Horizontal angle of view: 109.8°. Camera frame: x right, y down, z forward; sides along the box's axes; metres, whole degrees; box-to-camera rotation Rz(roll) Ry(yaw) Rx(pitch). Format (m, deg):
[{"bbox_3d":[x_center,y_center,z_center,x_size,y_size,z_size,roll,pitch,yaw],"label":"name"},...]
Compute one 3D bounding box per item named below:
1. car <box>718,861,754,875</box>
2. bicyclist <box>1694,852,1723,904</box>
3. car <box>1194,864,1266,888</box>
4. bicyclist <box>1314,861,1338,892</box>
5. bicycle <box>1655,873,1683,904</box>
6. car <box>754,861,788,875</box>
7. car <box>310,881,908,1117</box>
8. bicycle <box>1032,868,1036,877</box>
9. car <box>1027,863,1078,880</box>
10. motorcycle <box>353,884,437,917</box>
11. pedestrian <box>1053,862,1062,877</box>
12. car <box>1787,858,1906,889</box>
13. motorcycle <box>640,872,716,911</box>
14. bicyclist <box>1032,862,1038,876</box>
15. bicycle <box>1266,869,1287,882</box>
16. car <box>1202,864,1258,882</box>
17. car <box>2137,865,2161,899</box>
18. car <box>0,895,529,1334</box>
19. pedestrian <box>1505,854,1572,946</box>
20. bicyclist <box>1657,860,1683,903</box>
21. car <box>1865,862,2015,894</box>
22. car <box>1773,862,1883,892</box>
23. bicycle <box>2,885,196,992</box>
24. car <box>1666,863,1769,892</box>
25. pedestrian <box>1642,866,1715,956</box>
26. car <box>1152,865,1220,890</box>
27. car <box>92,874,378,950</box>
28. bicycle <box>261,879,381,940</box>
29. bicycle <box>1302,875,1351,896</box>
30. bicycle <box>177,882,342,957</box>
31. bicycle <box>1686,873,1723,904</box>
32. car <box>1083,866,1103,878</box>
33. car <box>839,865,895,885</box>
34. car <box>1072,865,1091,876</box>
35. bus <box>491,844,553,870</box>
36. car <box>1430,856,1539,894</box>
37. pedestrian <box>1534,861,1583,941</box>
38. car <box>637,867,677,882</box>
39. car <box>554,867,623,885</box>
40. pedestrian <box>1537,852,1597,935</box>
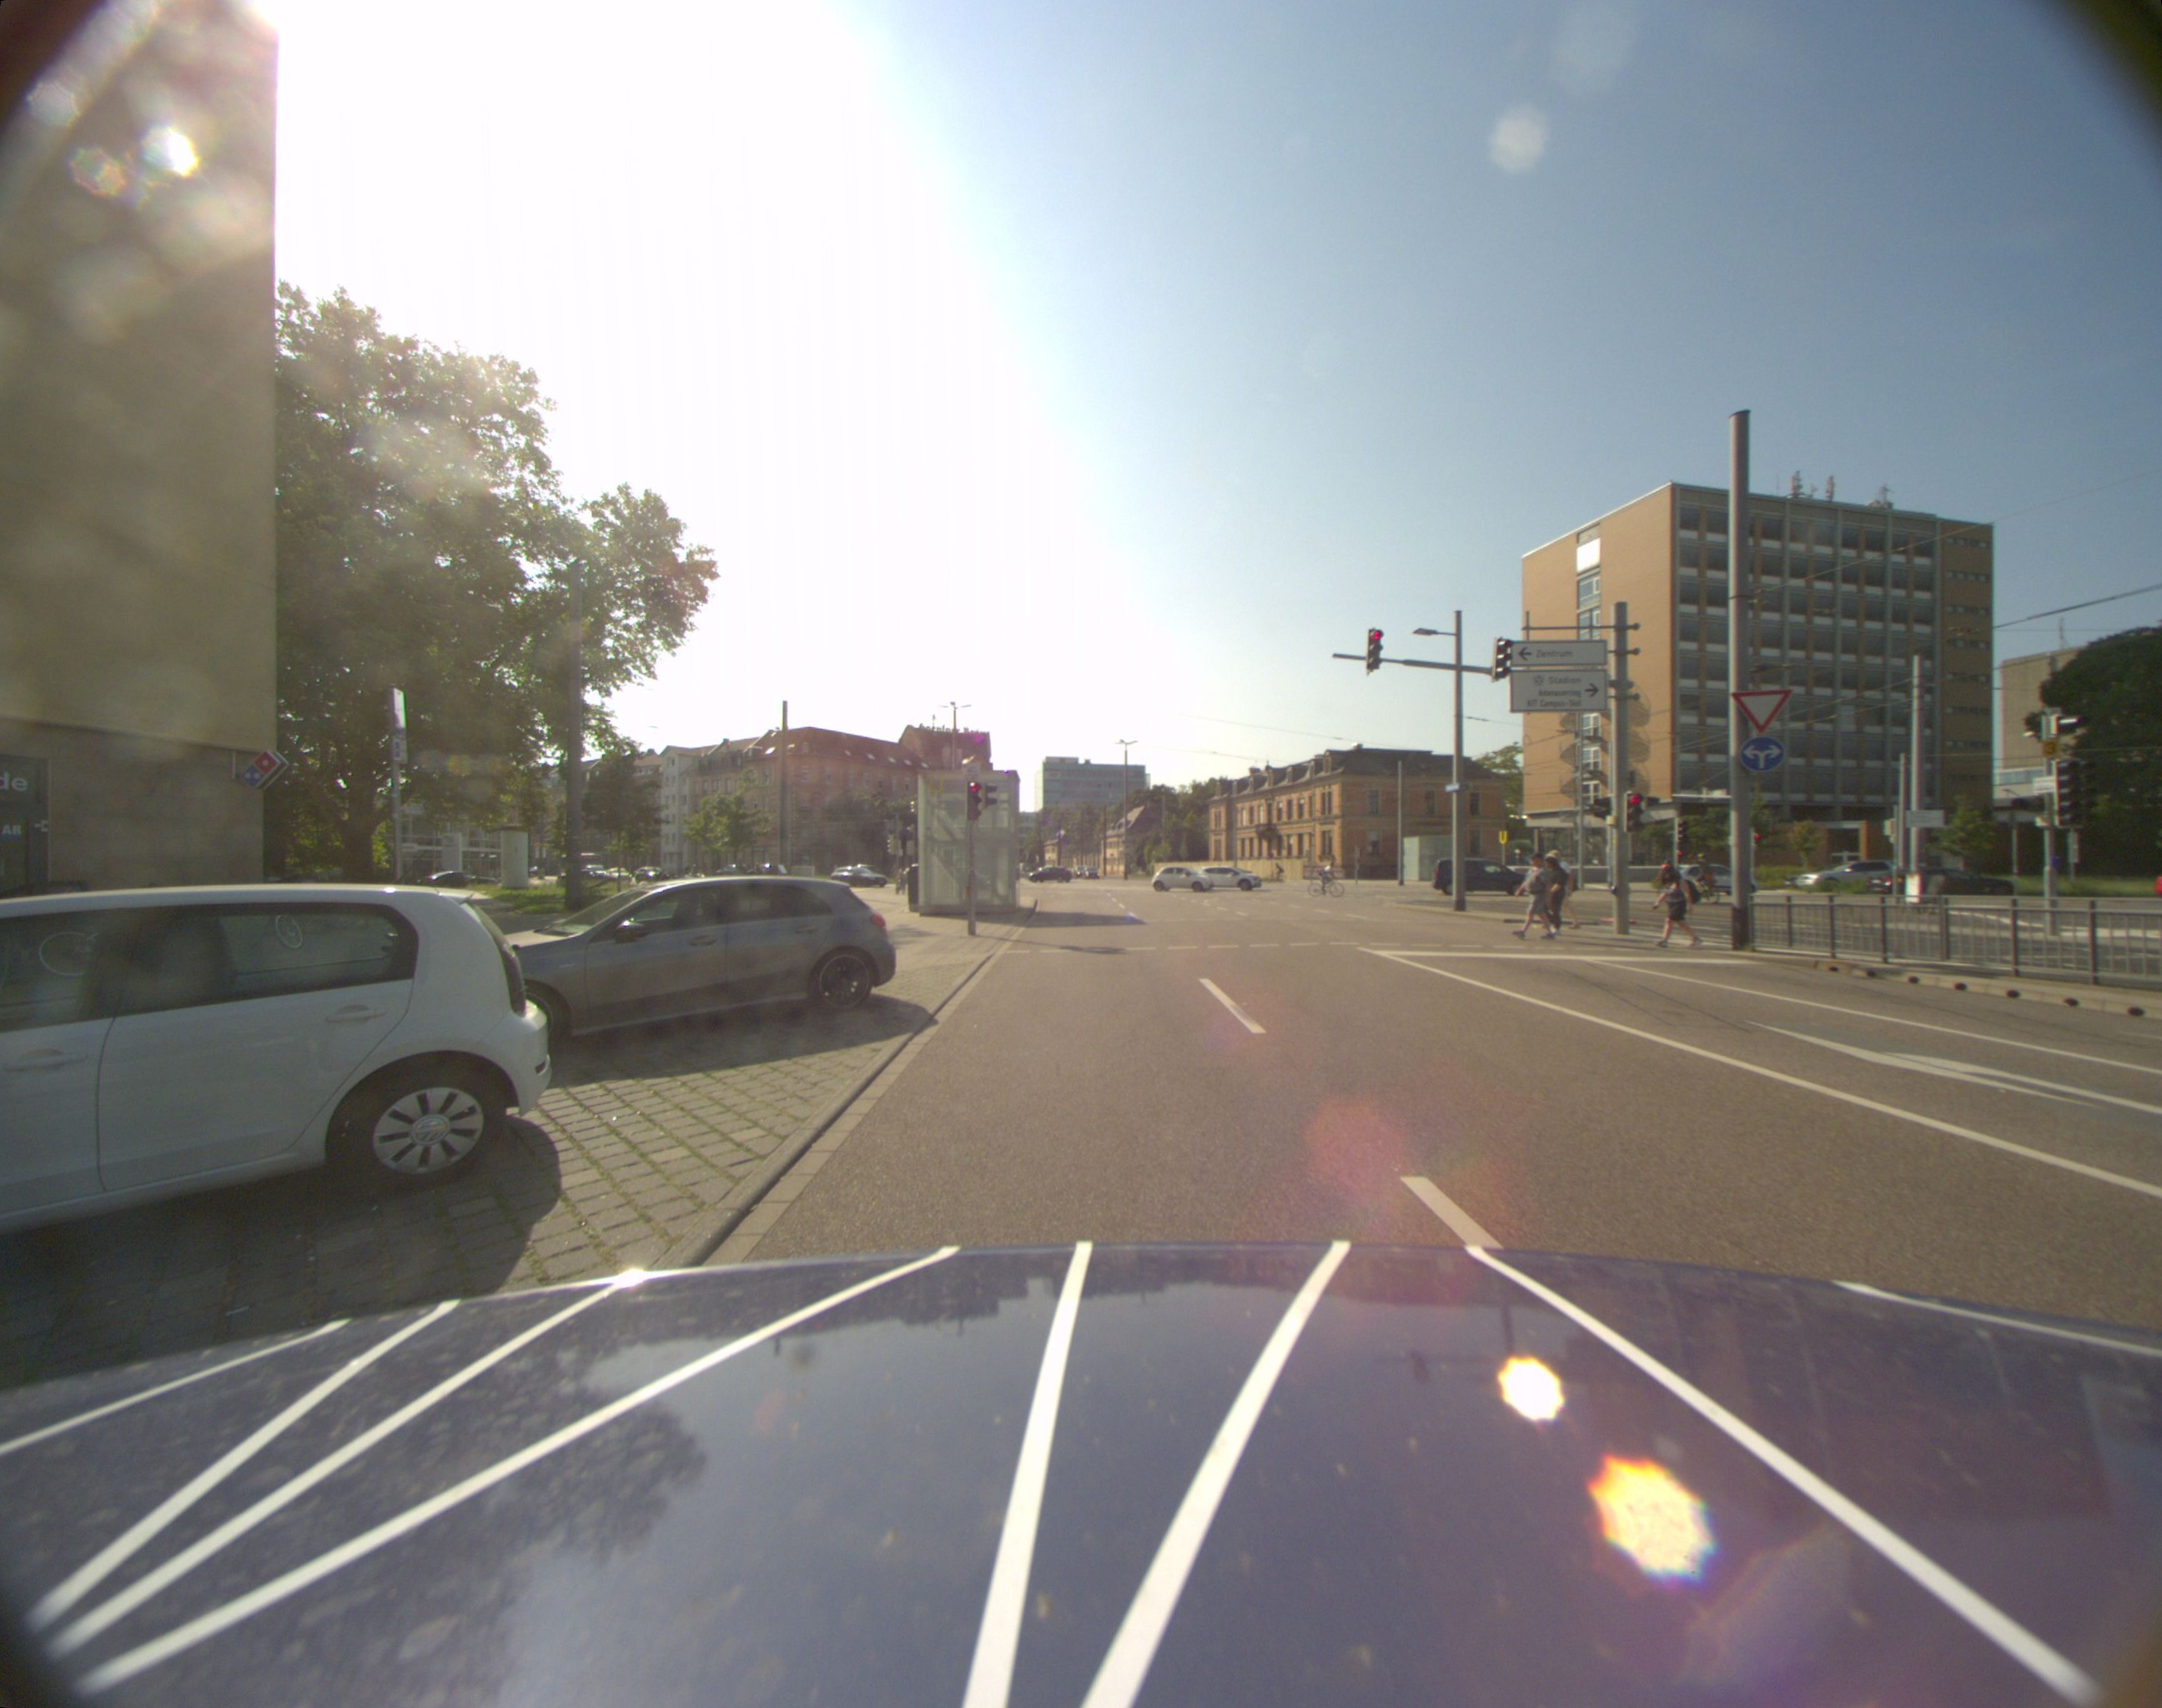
[{"bbox_3d":[-41.689,1.684,91.802,4.278,1.614,1.819,-1,-2,32],"label":"car"},{"bbox_3d":[24.120,0.924,29.218,0.580,1.962,0.809,0,-1,15],"label":"bicyclist"},{"bbox_3d":[9.164,1.345,46.668,3.990,1.407,1.807,0,-1,25],"label":"car"},{"bbox_3d":[11.923,1.097,36.937,0.969,1.466,1.089,0,0,24],"label":"bicyclist"},{"bbox_3d":[22.798,1.325,29.500,0.311,1.158,1.501,0,-1,16],"label":"bicycle"},{"bbox_3d":[-35.440,1.612,86.811,3.965,1.572,1.748,-1,-2,34],"label":"car"},{"bbox_3d":[-4.098,1.048,7.234,4.418,1.415,1.843,0,0,-41],"label":"car"},{"bbox_3d":[-5.609,2.203,90.798,0.401,1.083,1.927,0,-1,-6],"label":"bicycle"},{"bbox_3d":[-2.570,1.599,68.926,4.280,1.456,1.677,0,-2,20],"label":"car"},{"bbox_3d":[-22.382,1.502,24.850,0.704,0.995,1.959,0,0,16],"label":"motorcycle"},{"bbox_3d":[-2.564,1.712,83.255,0.792,1.677,0.662,0,0,9],"label":"pedestrian"},{"bbox_3d":[43.044,1.088,42.830,4.281,1.696,1.956,0,-2,16],"label":"car"},{"bbox_3d":[-12.704,1.163,24.034,0.704,1.140,2.304,0,0,16],"label":"motorcycle"},{"bbox_3d":[-5.445,1.762,90.606,0.662,1.627,0.918,0,0,-6],"label":"bicyclist"},{"bbox_3d":[17.688,1.929,68.636,1.768,1.187,0.402,0,0,22],"label":"bicycle"},{"bbox_3d":[12.307,1.557,62.850,4.315,1.456,1.677,0,-2,20],"label":"car"},{"bbox_3d":[45.930,1.136,30.431,3.992,1.407,1.806,0,0,17],"label":"car"},{"bbox_3d":[-4.585,0.999,3.160,3.535,1.455,1.618,0,0,-42],"label":"car"},{"bbox_3d":[8.667,0.855,14.431,0.816,1.683,0.651,2,0,0],"label":"pedestrian"},{"bbox_3d":[22.779,1.065,29.408,0.511,1.620,0.809,0,-1,15],"label":"bicyclist"},{"bbox_3d":[40.061,1.104,35.566,4.340,1.443,1.806,0,0,19],"label":"car"},{"bbox_3d":[44.647,1.374,45.526,4.280,1.696,1.929,0,-2,18],"label":"car"},{"bbox_3d":[-12.927,1.058,10.082,0.470,1.253,1.637,0,0,0],"label":"bicycle"},{"bbox_3d":[31.741,1.140,38.007,3.549,1.427,1.806,0,0,19],"label":"car"},{"bbox_3d":[10.690,1.007,13.605,0.810,1.539,0.548,2,0,2],"label":"pedestrian"},{"bbox_3d":[6.158,1.339,44.513,3.607,1.407,1.806,0,-1,21],"label":"car"},{"bbox_3d":[-18.541,1.190,16.996,1.660,1.432,4.195,0,-1,1],"label":"car"},{"bbox_3d":[-17.084,1.215,17.170,0.524,1.227,2.300,0,0,-4],"label":"bicycle"},{"bbox_3d":[11.942,1.523,36.968,2.192,0.983,0.530,1,1,25],"label":"bicycle"},{"bbox_3d":[-13.705,1.075,12.711,2.022,1.199,0.671,0,0,0],"label":"bicycle"},{"bbox_3d":[24.205,1.317,29.522,0.376,1.158,1.862,0,-1,16],"label":"bicycle"},{"bbox_3d":[1.323,2.045,86.490,1.693,1.319,3.997,0,-1,-8],"label":"car"},{"bbox_3d":[-15.684,1.495,55.640,3.893,1.433,1.807,0,-1,31],"label":"car"},{"bbox_3d":[0.039,1.958,93.358,1.693,1.319,3.997,0,-1,-8],"label":"car"},{"bbox_3d":[-67.253,0.437,91.323,11.464,2.966,2.904,0,-1,37],"label":"bus"},{"bbox_3d":[20.401,1.044,38.682,4.761,1.817,1.806,0,0,23],"label":"car"},{"bbox_3d":[9.688,0.940,15.439,0.634,1.588,0.468,2,0,-1],"label":"pedestrian"},{"bbox_3d":[-40.768,1.973,73.002,3.621,1.433,1.807,0,-1,31],"label":"car"},{"bbox_3d":[-40.090,1.774,61.913,1.994,1.362,4.408,0,-1,43],"label":"car"},{"bbox_3d":[10.828,0.873,16.952,0.834,1.777,0.729,2,0,8],"label":"pedestrian"}]
